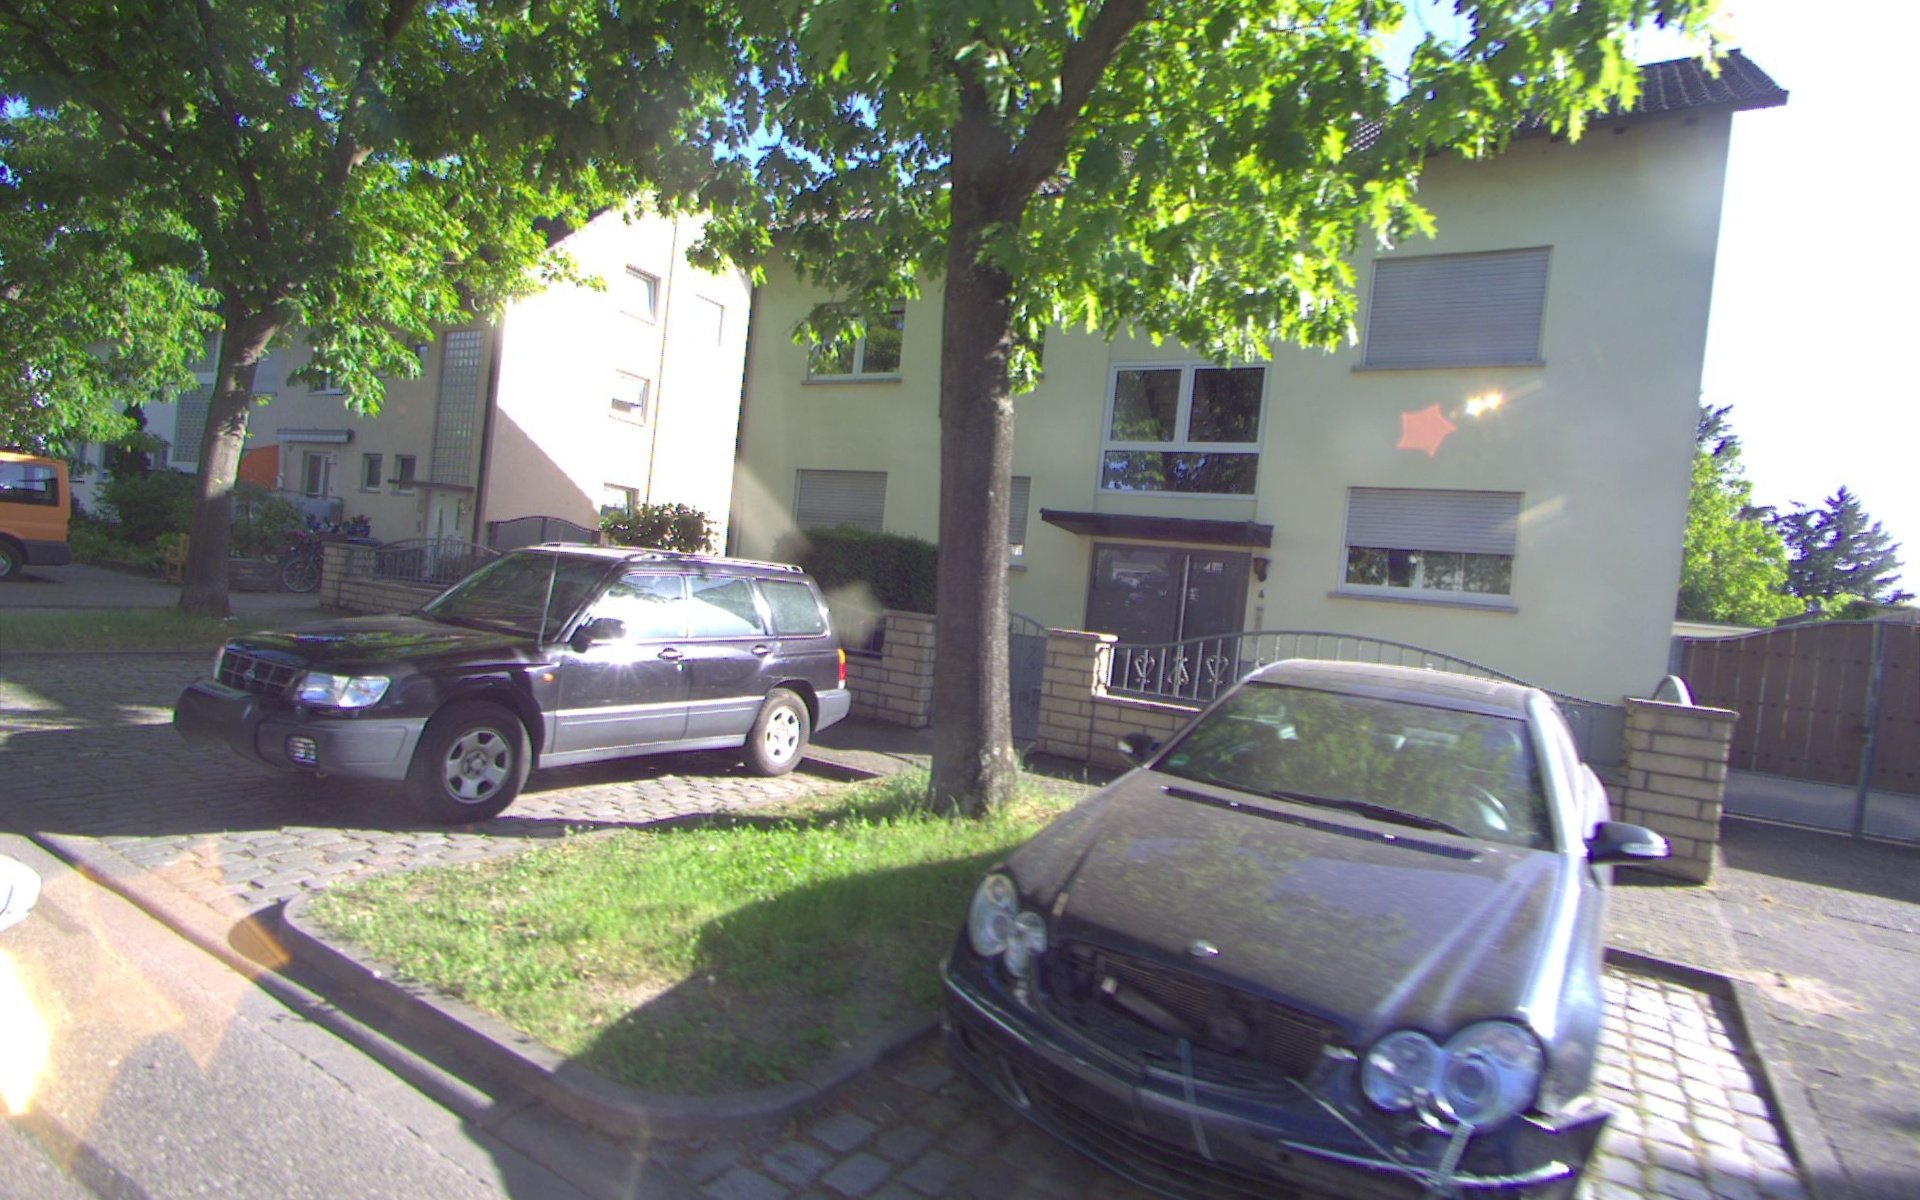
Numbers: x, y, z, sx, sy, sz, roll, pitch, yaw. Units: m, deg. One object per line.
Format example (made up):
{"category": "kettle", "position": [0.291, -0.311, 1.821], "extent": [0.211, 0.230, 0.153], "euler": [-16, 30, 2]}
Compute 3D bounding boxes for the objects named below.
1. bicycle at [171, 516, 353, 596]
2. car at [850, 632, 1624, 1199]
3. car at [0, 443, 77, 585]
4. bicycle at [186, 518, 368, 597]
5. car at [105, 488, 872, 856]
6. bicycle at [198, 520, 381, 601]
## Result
{"category": "bicycle", "position": [-13.243, -0.795, 19.231], "extent": [0.460, 1.253, 2.860], "euler": [6, 1, 31]}
{"category": "car", "position": [1.654, 0.919, 4.128], "extent": [1.663, 1.348, 4.427], "euler": [6, 1, 33]}
{"category": "car", "position": [-16.286, -1.481, 14.561], "extent": [2.051, 2.110, 4.821], "euler": [6, 1, 31]}
{"category": "bicycle", "position": [-12.806, -0.762, 19.013], "extent": [0.460, 1.253, 2.859], "euler": [5, 1, 31]}
{"category": "car", "position": [-2.658, 0.373, 6.795], "extent": [1.836, 1.580, 4.342], "euler": [6, 0, 30]}
{"category": "bicycle", "position": [-12.406, -0.695, 18.757], "extent": [0.460, 1.253, 2.860], "euler": [5, 0, 31]}
